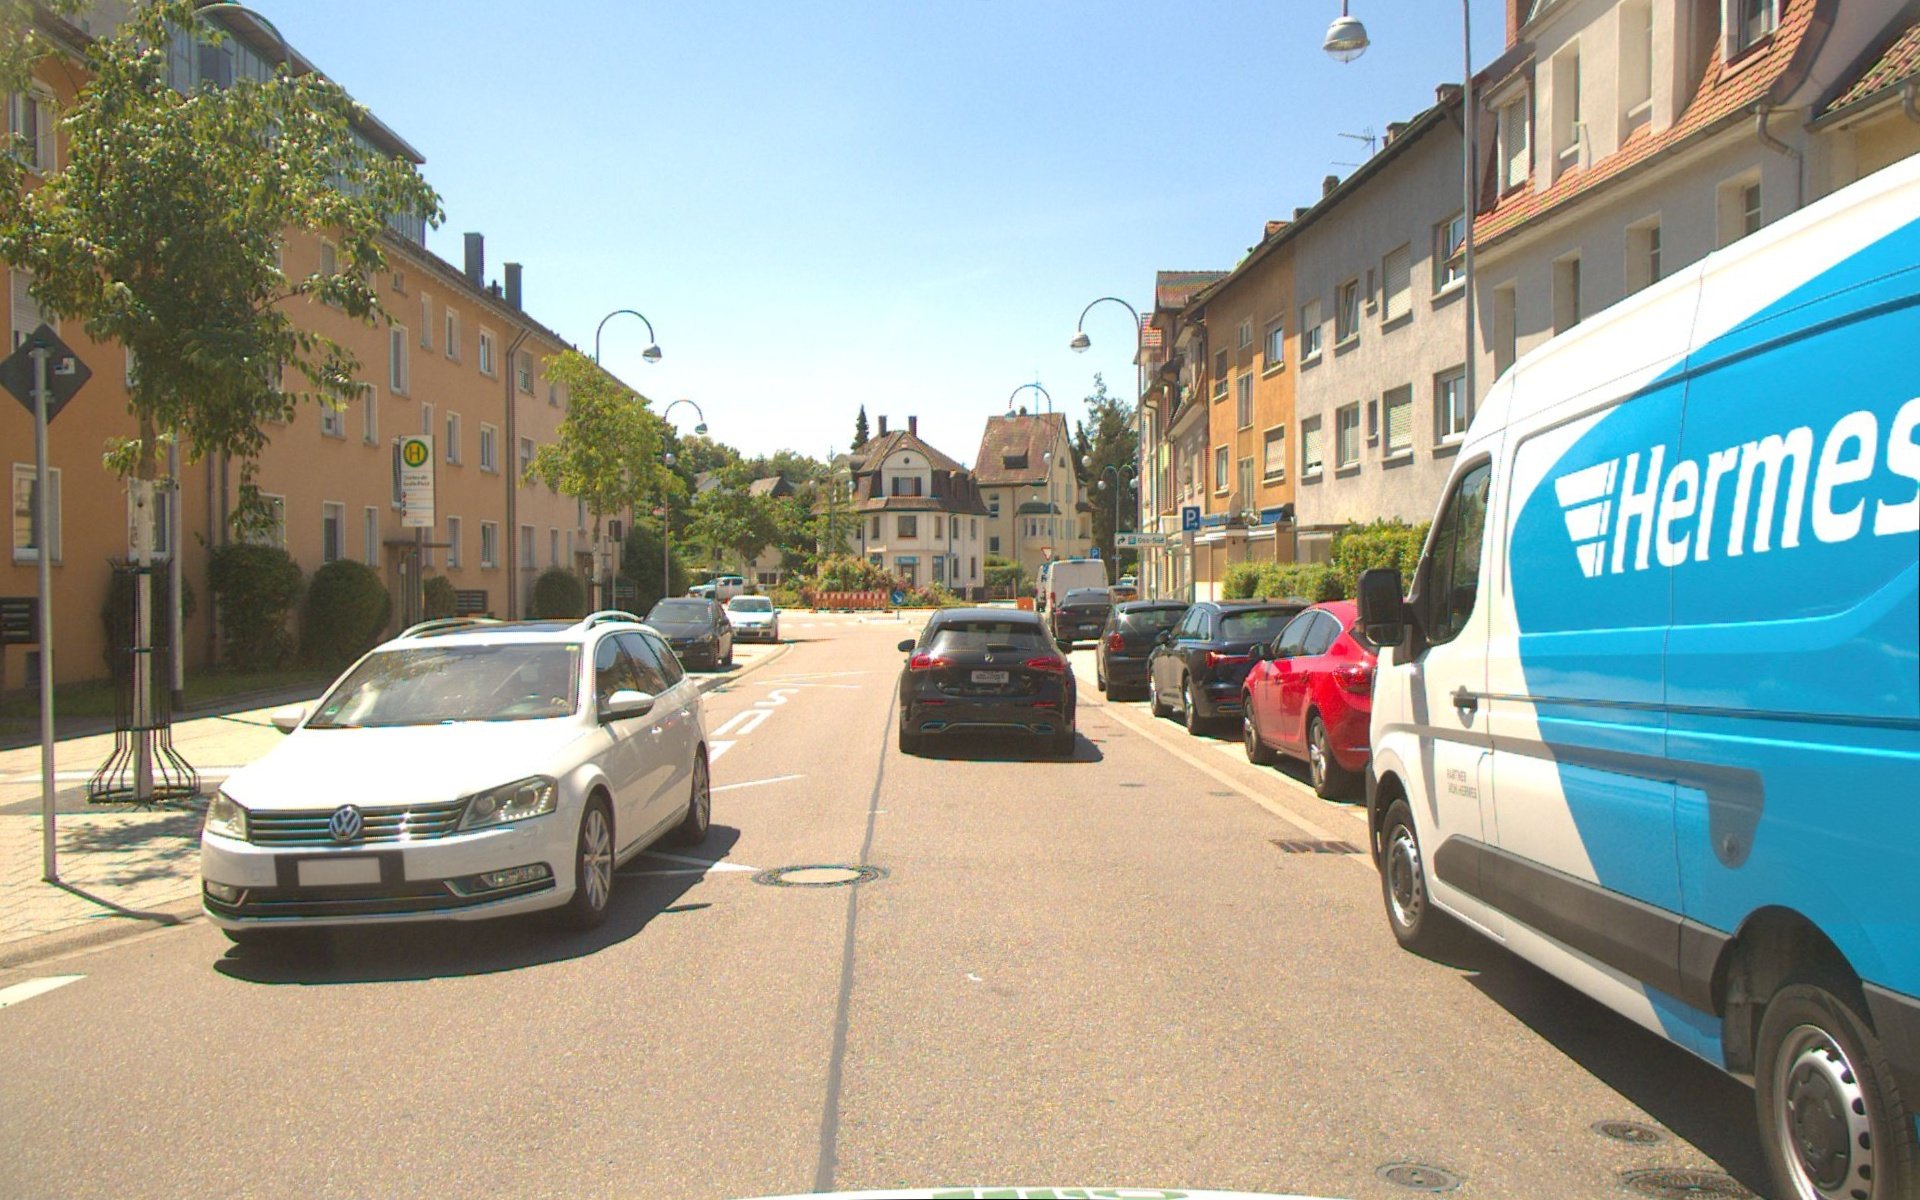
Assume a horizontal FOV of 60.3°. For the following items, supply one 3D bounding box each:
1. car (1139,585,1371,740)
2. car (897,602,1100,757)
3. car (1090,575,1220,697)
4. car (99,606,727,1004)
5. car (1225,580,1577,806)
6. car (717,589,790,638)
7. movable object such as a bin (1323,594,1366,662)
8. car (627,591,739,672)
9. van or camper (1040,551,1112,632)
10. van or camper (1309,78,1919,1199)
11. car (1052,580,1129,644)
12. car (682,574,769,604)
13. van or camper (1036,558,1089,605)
[{"bbox_3d":[3.399,0.645,19.994,1.767,1.500,4.719,-4,1,-2],"label":"car"},{"bbox_3d":[0.350,0.763,17.671,1.913,1.452,3.999,1,0,-1],"label":"car"},{"bbox_3d":[3.016,0.505,26.237,1.692,1.661,4.002,-3,1,3],"label":"car"},{"bbox_3d":[-2.598,0.870,9.088,1.952,1.533,4.289,-1,1,1],"label":"car"},{"bbox_3d":[3.560,0.650,14.162,1.767,1.556,4.149,-2,1,-2],"label":"car"},{"bbox_3d":[-6.505,0.402,52.430,1.953,1.445,4.086,-1,0,-2],"label":"car"},{"bbox_3d":[6.480,0.465,27.880,0.542,1.104,0.776,-1,1,0],"label":"movable object such as a bin"},{"bbox_3d":[-5.917,0.622,35.838,1.820,1.533,4.561,-1,1,-2],"label":"car"},{"bbox_3d":[3.995,-0.346,57.870,2.120,2.634,5.767,-2,1,1],"label":"van or camper"},{"bbox_3d":[2.931,0.197,5.730,2.065,2.510,6.177,-2,0,0],"label":"van or camper"},{"bbox_3d":[3.699,0.289,46.359,1.855,1.635,4.368,-2,1,8],"label":"car"},{"bbox_3d":[-15.083,-0.690,106.549,5.367,1.847,1.972,0,1,-39],"label":"car"},{"bbox_3d":[5.916,-1.074,94.873,2.159,2.656,4.003,0,1,17],"label":"van or camper"}]
